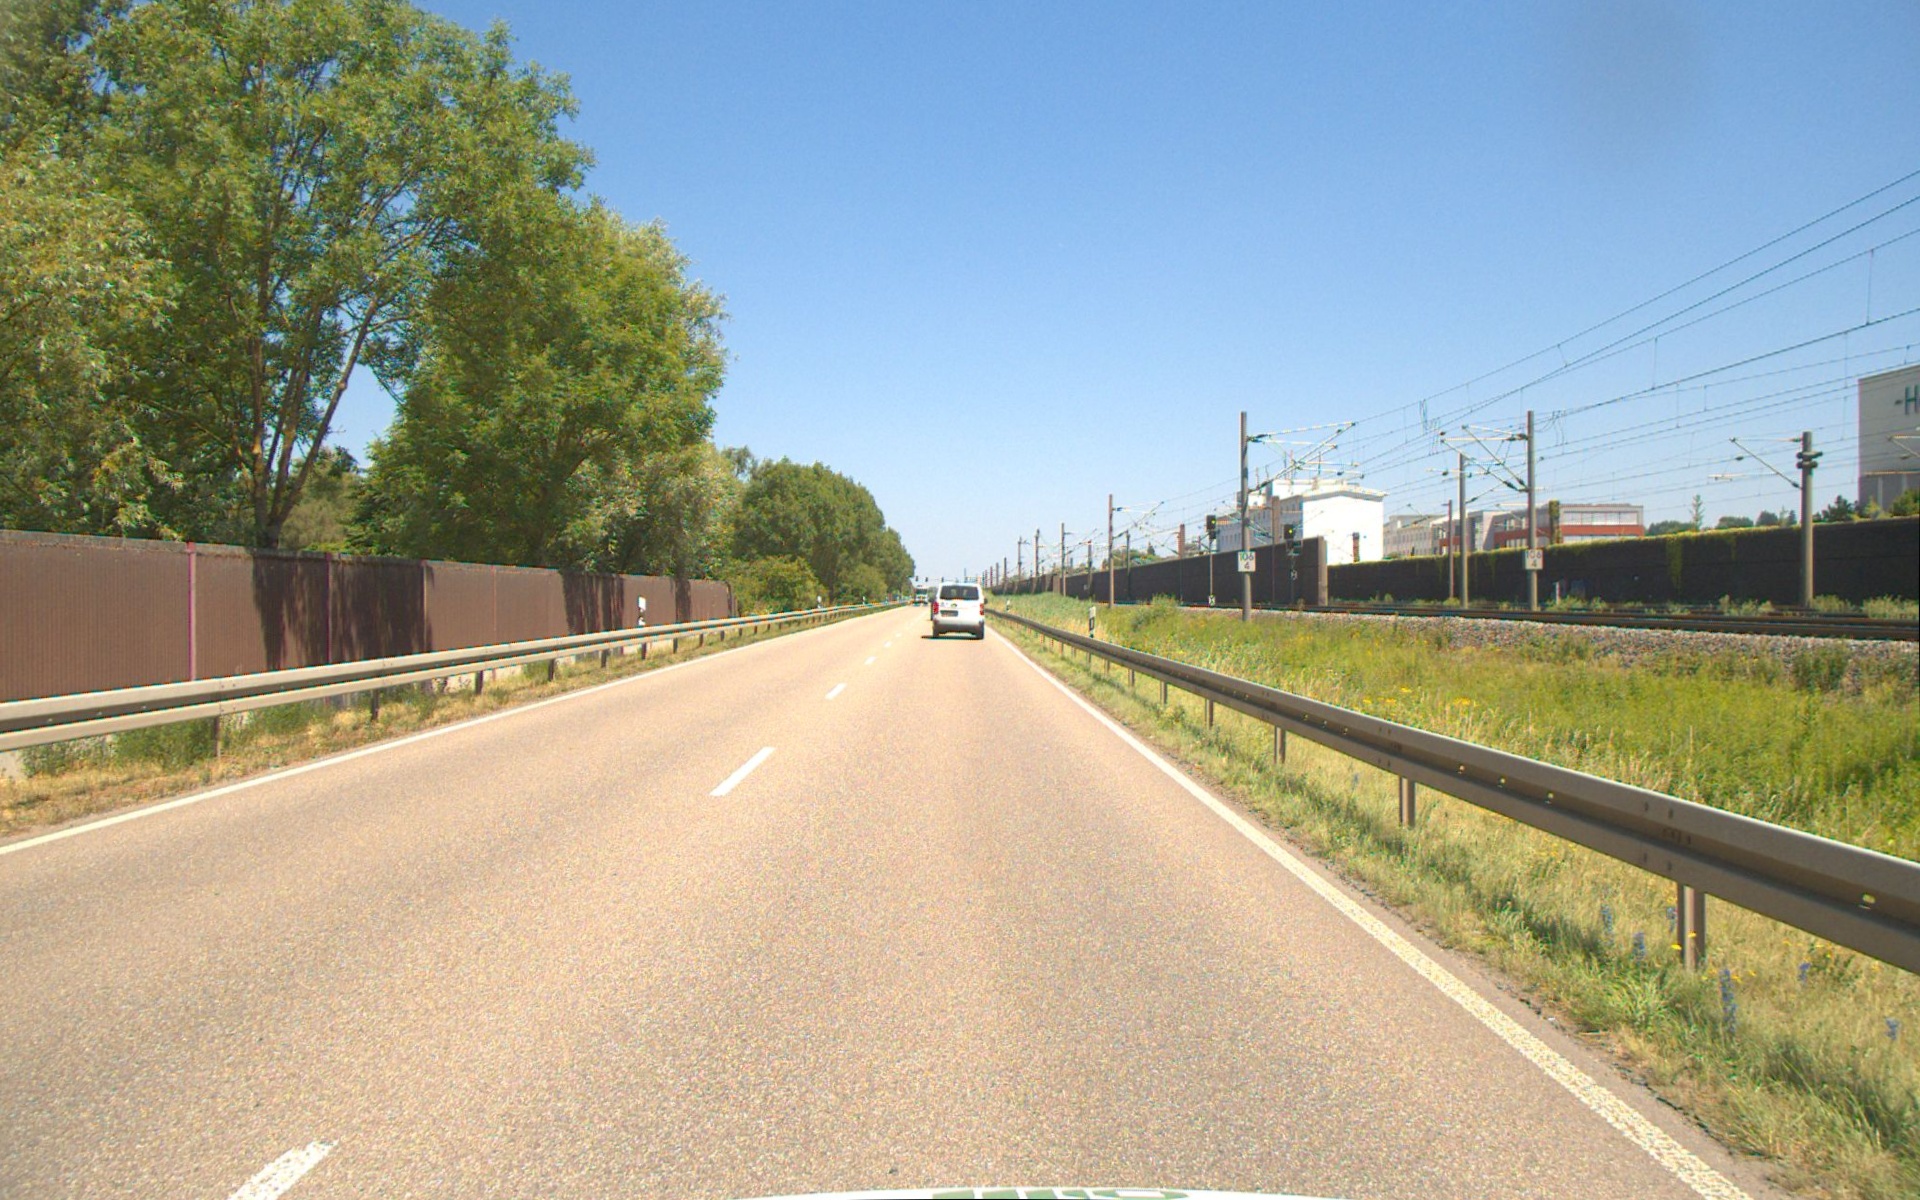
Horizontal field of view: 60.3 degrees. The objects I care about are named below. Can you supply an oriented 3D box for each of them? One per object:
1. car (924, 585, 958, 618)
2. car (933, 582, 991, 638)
[{"bbox_3d":[-1.116,0.097,99.543,1.953,1.882,3.999,2,0,-1],"label":"car"},{"bbox_3d":[0.050,0.331,59.156,1.953,1.882,3.999,2,0,-1],"label":"car"}]
